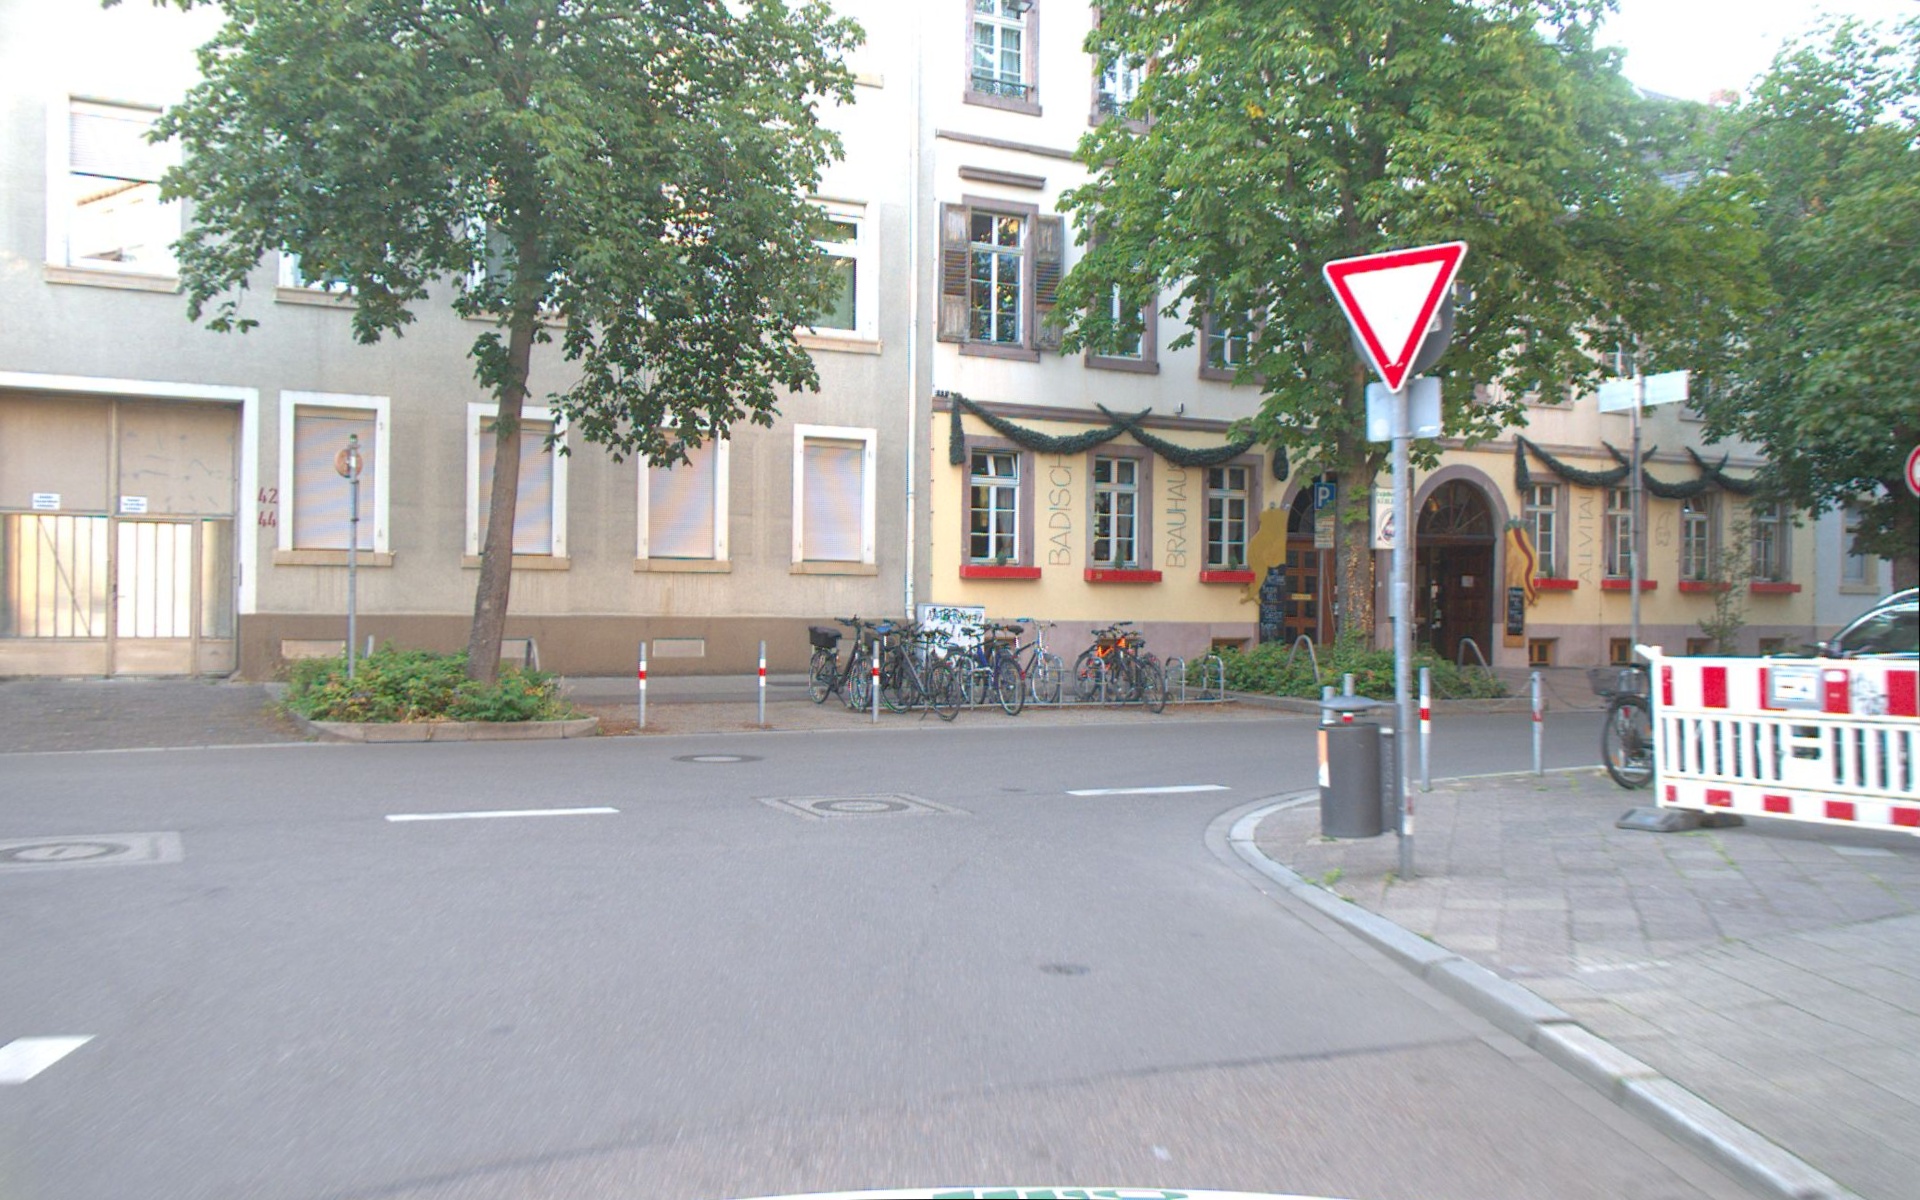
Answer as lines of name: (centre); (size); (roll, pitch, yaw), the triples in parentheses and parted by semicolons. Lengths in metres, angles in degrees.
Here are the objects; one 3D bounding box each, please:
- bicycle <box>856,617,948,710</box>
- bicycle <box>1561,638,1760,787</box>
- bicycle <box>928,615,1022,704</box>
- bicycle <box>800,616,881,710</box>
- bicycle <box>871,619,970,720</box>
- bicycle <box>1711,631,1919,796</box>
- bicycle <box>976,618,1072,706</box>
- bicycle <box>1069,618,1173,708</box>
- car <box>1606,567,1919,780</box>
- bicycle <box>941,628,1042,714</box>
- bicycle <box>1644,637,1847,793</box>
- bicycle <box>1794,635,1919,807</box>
bicycle: (-0.812, 0.834, 22.452); (0.415, 1.165, 2.024); (0, 0, -27)
bicycle: (5.673, 0.883, 13.357); (1.842, 1.108, 0.361); (-1, -1, -27)
bicycle: (0.186, 0.801, 23.128); (0.415, 1.165, 2.024); (0, 0, -27)
bicycle: (-1.609, 0.805, 22.017); (0.439, 1.165, 2.027); (0, 0, -23)
bicycle: (-0.519, 0.844, 20.819); (0.439, 1.165, 2.025); (0, 0, -26)
bicycle: (6.305, 0.805, 12.146); (1.842, 1.108, 0.361); (-1, -1, -27)
bicycle: (0.889, 0.852, 23.419); (0.415, 1.165, 2.024); (0, 0, -27)
bicycle: (2.213, 0.846, 22.993); (0.415, 1.165, 2.024); (0, 0, -27)
car: (8.304, 0.623, 15.038); (1.749, 1.769, 4.554); (-1, -1, -26)
bicycle: (0.388, 0.908, 21.708); (0.415, 1.021, 2.024); (0, 0, -27)
bicycle: (6.110, 0.862, 12.828); (1.842, 1.108, 0.361); (-1, -1, -27)
bicycle: (6.607, 0.808, 11.552); (1.842, 1.108, 0.361); (-1, -1, -27)
